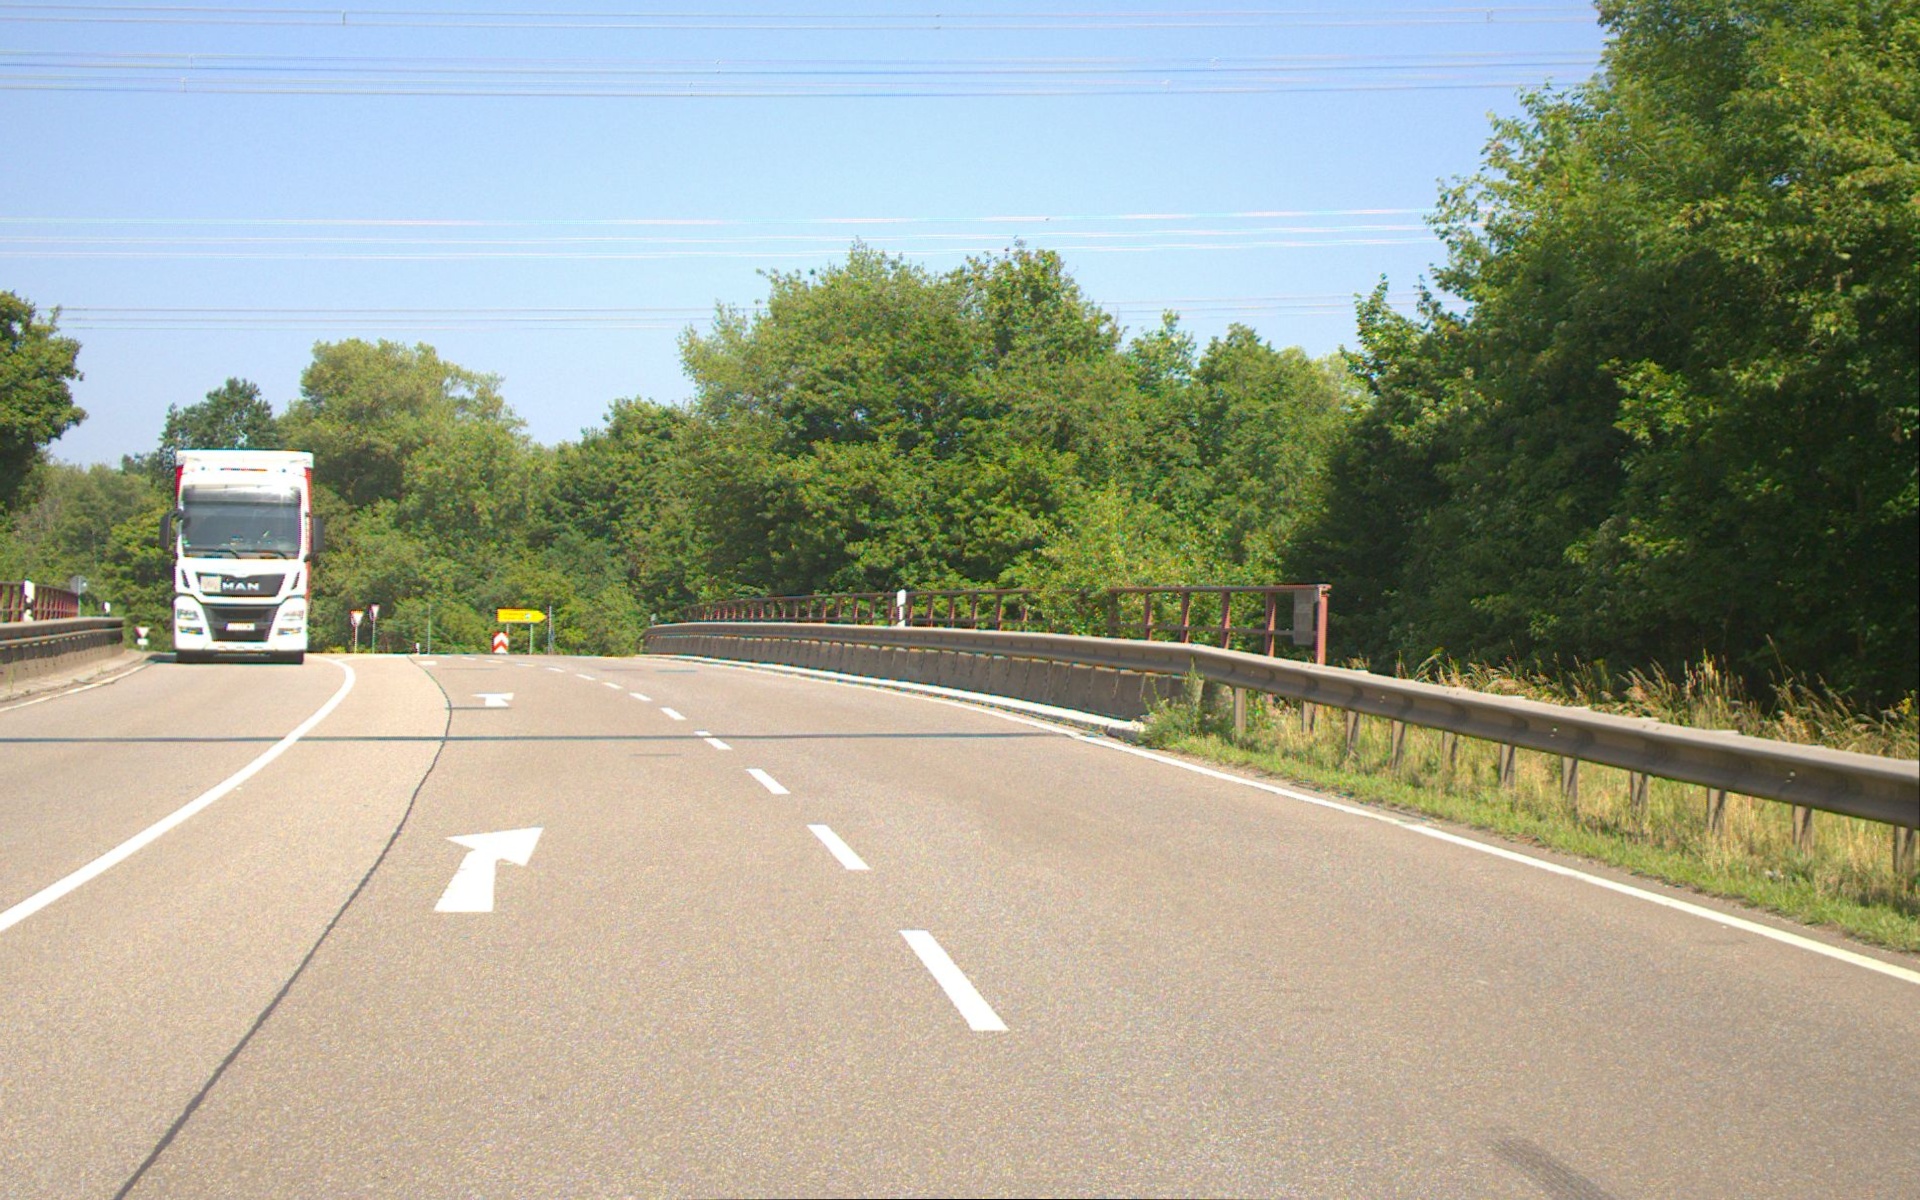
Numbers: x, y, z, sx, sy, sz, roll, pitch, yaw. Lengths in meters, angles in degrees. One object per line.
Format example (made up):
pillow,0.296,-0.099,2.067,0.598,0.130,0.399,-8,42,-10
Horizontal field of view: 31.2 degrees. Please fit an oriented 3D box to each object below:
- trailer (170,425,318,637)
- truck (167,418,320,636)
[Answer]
trailer,-15.328,-1.300,72.906,2.767,4.048,14.204,0,0,-13
truck,-13.841,-1.327,66.382,2.768,4.020,5.857,0,0,-12
